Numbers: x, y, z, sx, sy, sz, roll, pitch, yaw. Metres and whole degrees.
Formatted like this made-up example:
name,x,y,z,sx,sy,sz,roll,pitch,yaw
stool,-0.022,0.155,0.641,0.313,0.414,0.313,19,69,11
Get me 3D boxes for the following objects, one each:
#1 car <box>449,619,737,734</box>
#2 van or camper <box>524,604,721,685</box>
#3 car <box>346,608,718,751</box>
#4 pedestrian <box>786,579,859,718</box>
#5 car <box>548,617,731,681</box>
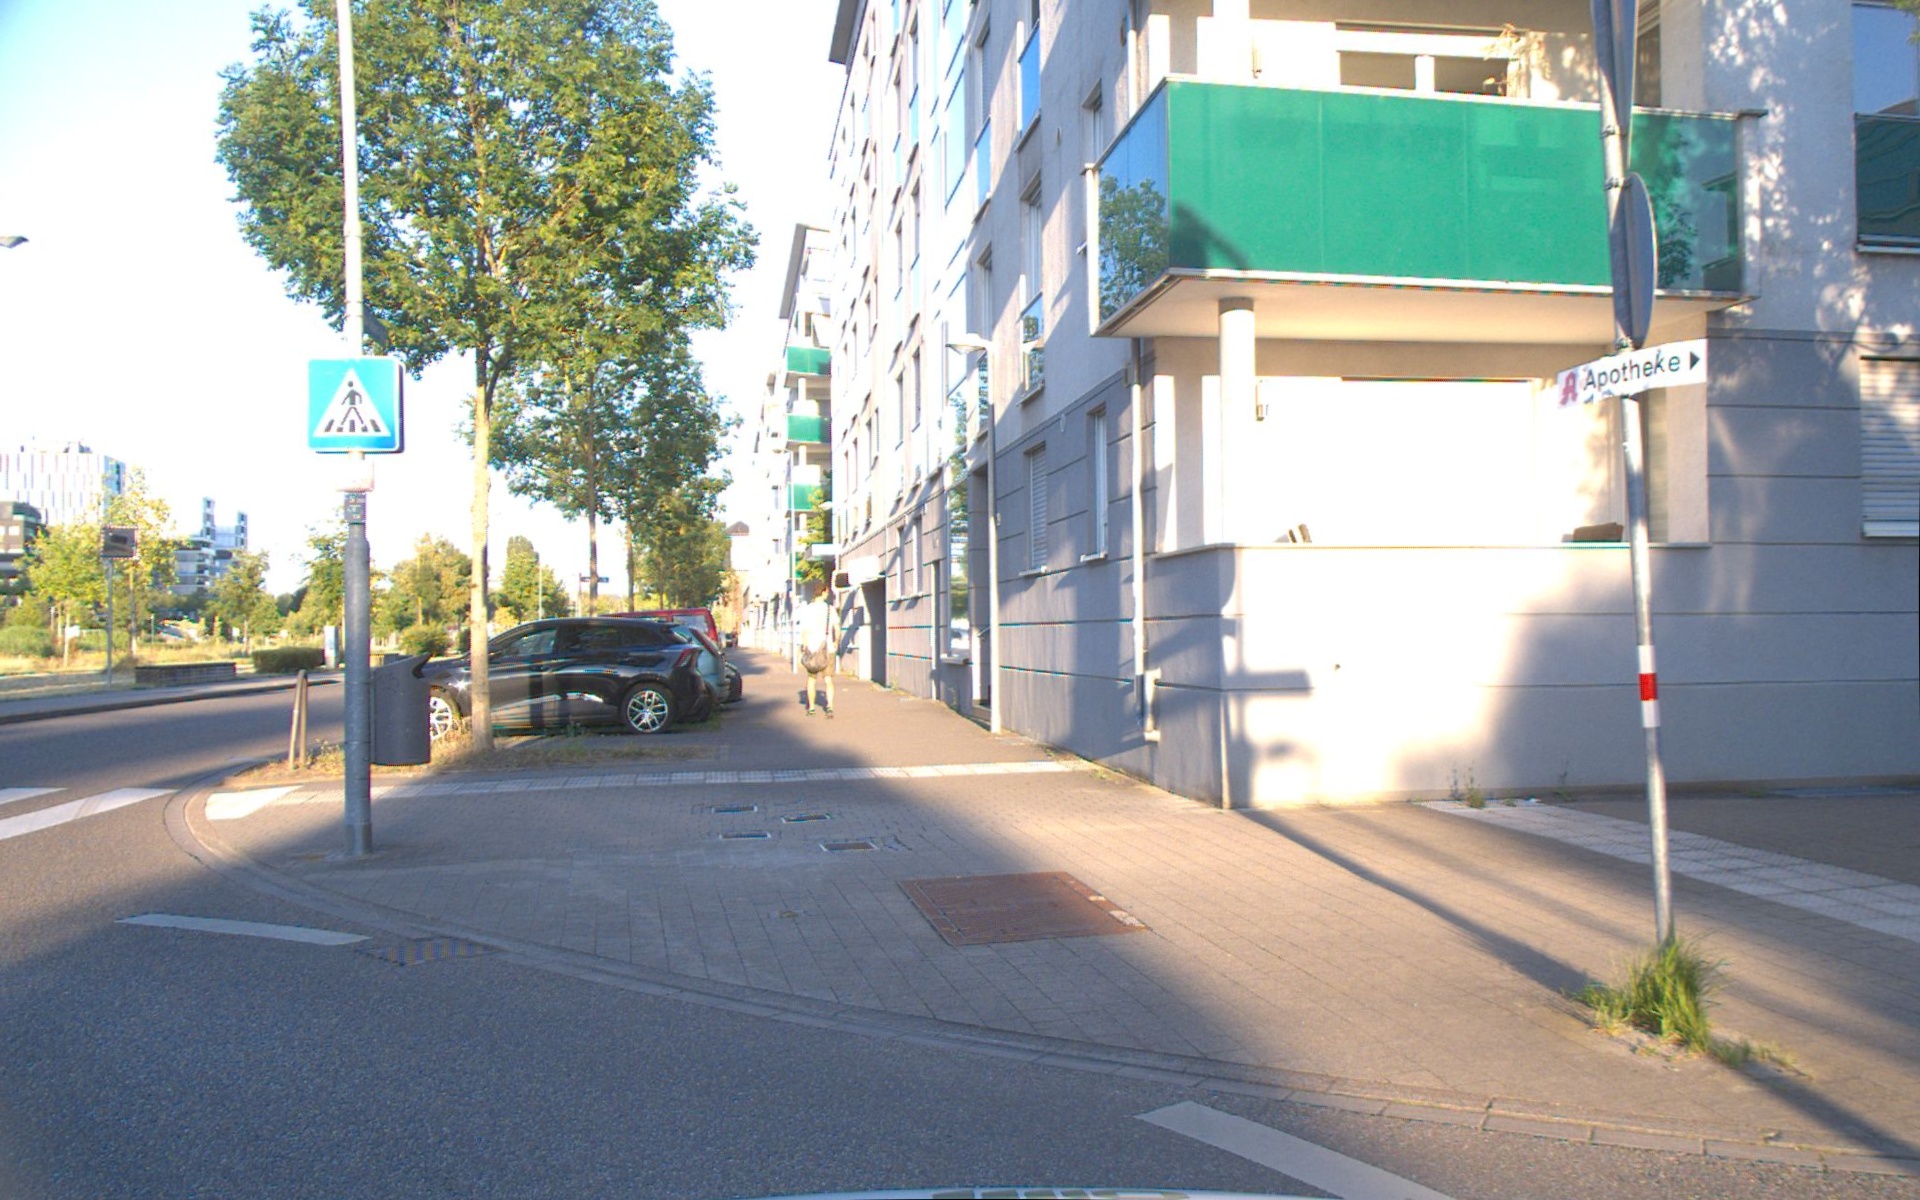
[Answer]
name,x,y,z,sx,sy,sz,roll,pitch,yaw
car,-5.283,1.080,24.102,3.921,1.398,1.555,-3,0,-11
van or camper,-8.936,1.184,44.031,5.024,2.096,1.872,0,-2,-12
car,-5.382,0.978,21.271,4.387,1.513,1.828,-3,-1,-11
pedestrian,-1.961,0.684,23.441,0.958,1.927,1.047,0,-2,-9
car,-7.966,1.208,41.275,4.372,1.548,1.697,0,-2,-11
